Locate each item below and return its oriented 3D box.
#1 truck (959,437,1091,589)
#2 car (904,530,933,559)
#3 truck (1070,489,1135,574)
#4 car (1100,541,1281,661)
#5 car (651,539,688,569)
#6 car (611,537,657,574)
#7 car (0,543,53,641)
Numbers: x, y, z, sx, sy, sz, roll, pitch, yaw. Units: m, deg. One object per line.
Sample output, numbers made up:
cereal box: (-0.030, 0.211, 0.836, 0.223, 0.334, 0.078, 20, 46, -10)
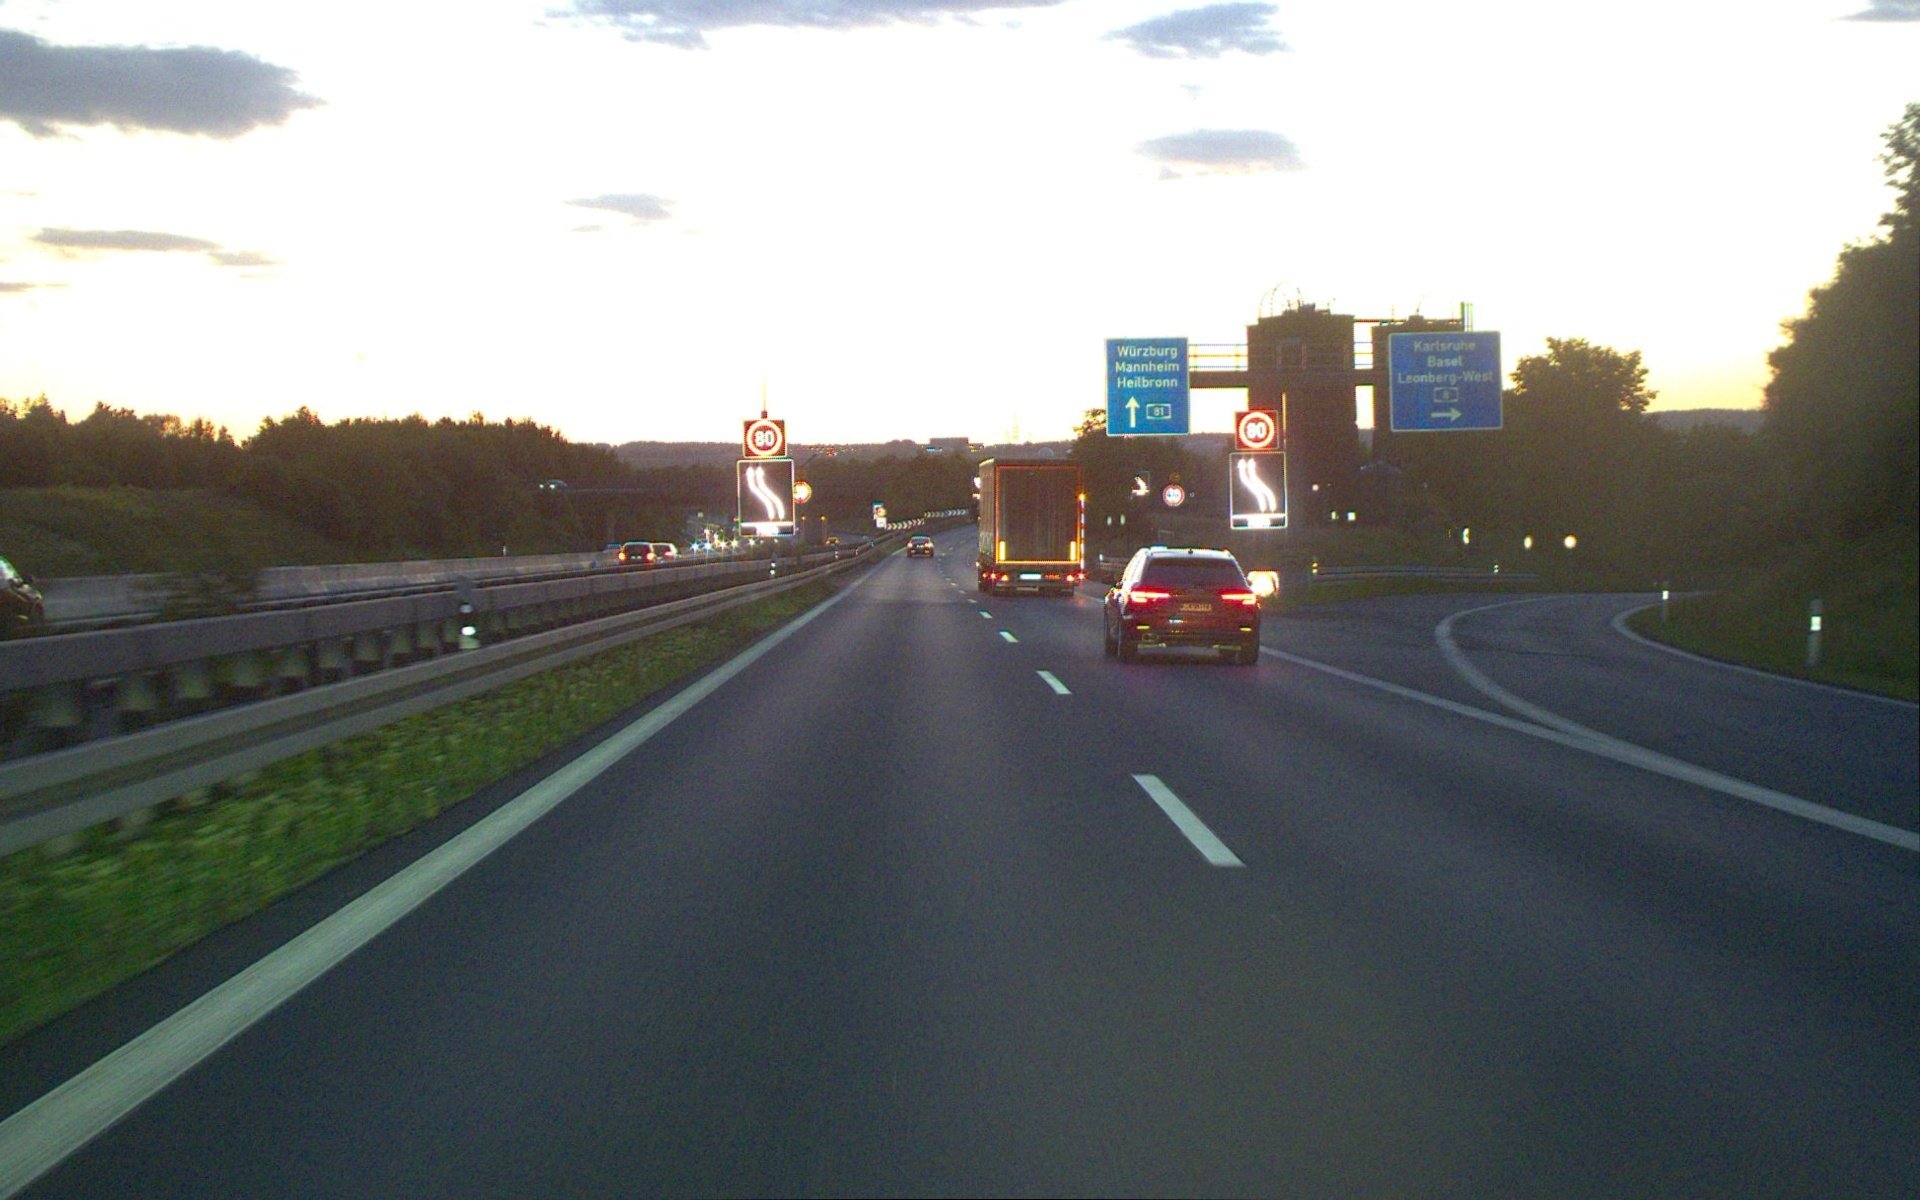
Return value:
truck: (1.868, -2.579, 103.894, 3.509, 4.286, 9.892, -2, 1, -1)
car: (-3.003, -3.958, 247.035, 1.993, 2.007, 4.000, -2, 1, -1)
truck: (6.909, -3.317, 167.630, 2.787, 4.045, 6.412, 0, 1, -1)
car: (2.940, -0.013, 44.628, 1.915, 1.437, 4.000, -2, 1, -2)
car: (-15.421, -2.426, 182.740, 1.638, 1.541, 3.395, -2, 1, 0)
car: (-14.683, -1.988, 154.896, 1.713, 1.600, 3.722, -2, 1, -1)
car: (-16.113, -0.118, 55.270, 1.872, 1.556, 4.520, -2, 1, -1)
